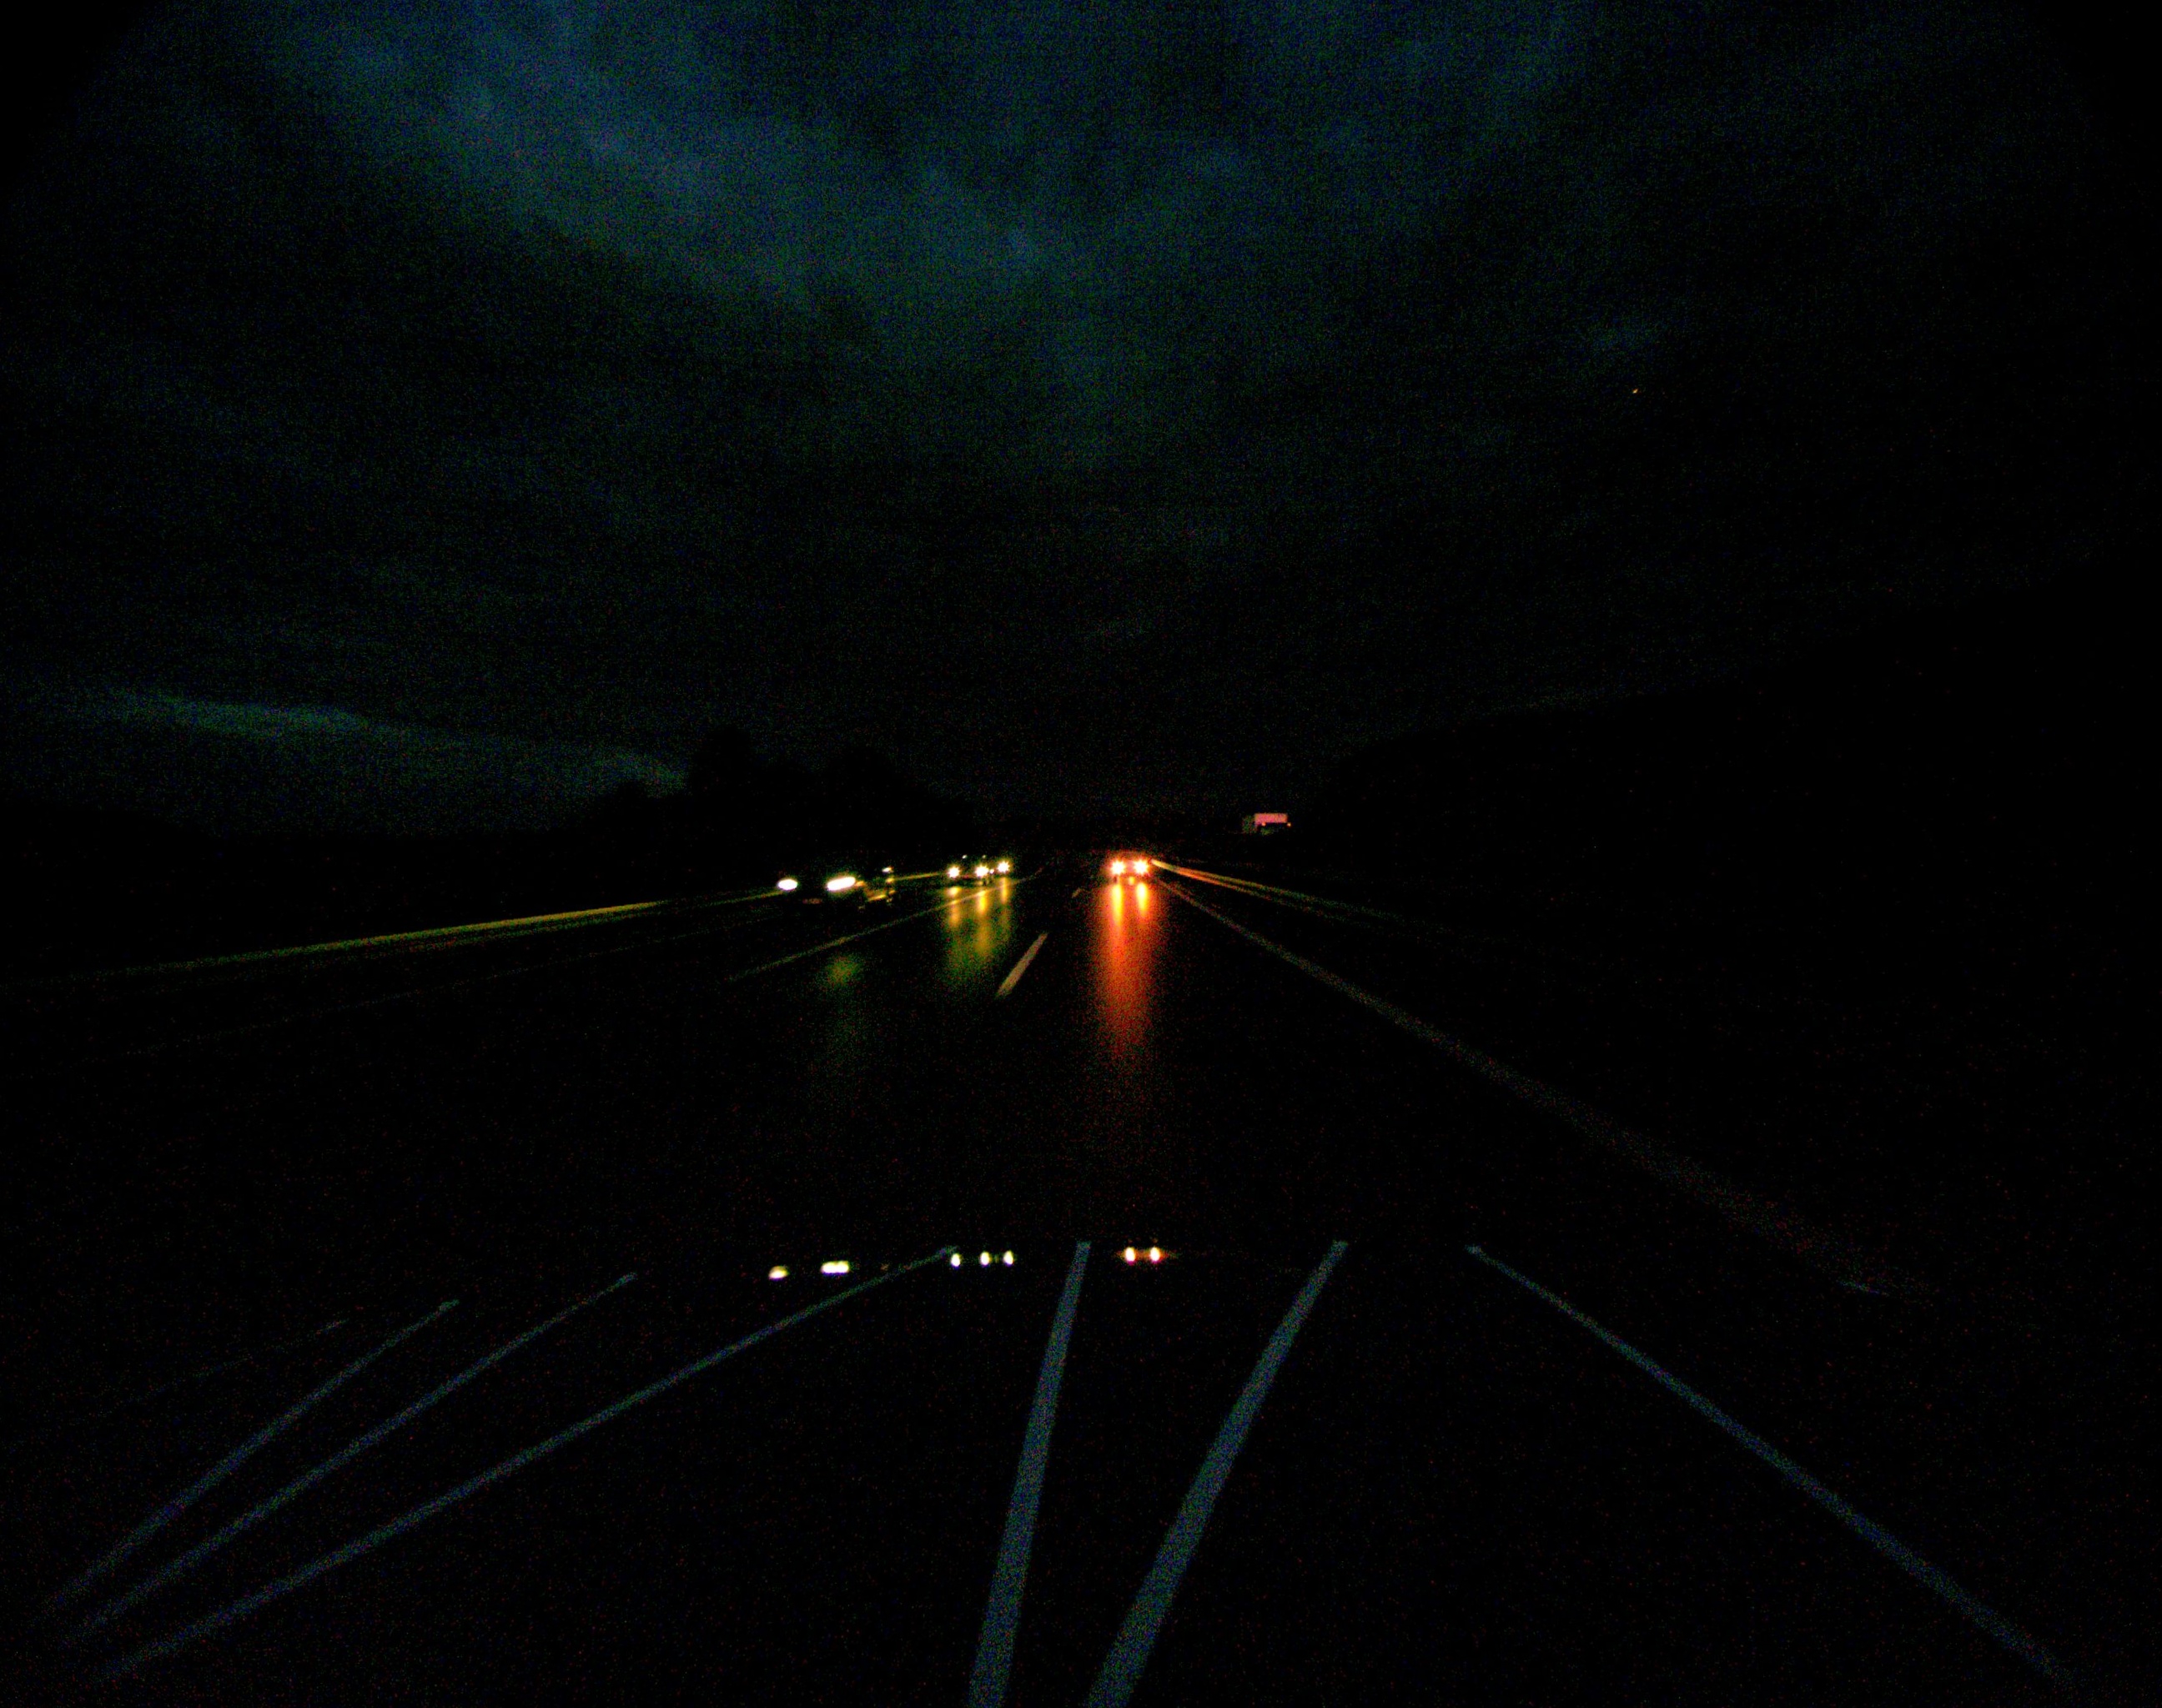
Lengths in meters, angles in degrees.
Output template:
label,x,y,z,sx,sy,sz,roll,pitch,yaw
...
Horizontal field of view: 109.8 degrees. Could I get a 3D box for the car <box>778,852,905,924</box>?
label,x,y,z,sx,sy,sz,roll,pitch,yaw
car,-6.277,0.806,20.589,1.802,1.636,5.159,-1,1,0

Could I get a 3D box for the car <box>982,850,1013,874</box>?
label,x,y,z,sx,sy,sz,roll,pitch,yaw
car,-5.993,0.551,54.822,1.803,1.483,4.434,-5,1,-2

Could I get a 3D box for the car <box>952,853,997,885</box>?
label,x,y,z,sx,sy,sz,roll,pitch,yaw
car,-5.542,0.737,40.171,1.803,1.483,5.115,-2,1,-2

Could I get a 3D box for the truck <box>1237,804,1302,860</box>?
label,x,y,z,sx,sy,sz,roll,pitch,yaw
truck,15.808,-1.826,64.584,3.046,4.277,9.889,-2,1,0

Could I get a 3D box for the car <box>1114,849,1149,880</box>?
label,x,y,z,sx,sy,sz,roll,pitch,yaw
car,2.790,0.548,42.493,1.669,1.551,3.756,-2,1,0
